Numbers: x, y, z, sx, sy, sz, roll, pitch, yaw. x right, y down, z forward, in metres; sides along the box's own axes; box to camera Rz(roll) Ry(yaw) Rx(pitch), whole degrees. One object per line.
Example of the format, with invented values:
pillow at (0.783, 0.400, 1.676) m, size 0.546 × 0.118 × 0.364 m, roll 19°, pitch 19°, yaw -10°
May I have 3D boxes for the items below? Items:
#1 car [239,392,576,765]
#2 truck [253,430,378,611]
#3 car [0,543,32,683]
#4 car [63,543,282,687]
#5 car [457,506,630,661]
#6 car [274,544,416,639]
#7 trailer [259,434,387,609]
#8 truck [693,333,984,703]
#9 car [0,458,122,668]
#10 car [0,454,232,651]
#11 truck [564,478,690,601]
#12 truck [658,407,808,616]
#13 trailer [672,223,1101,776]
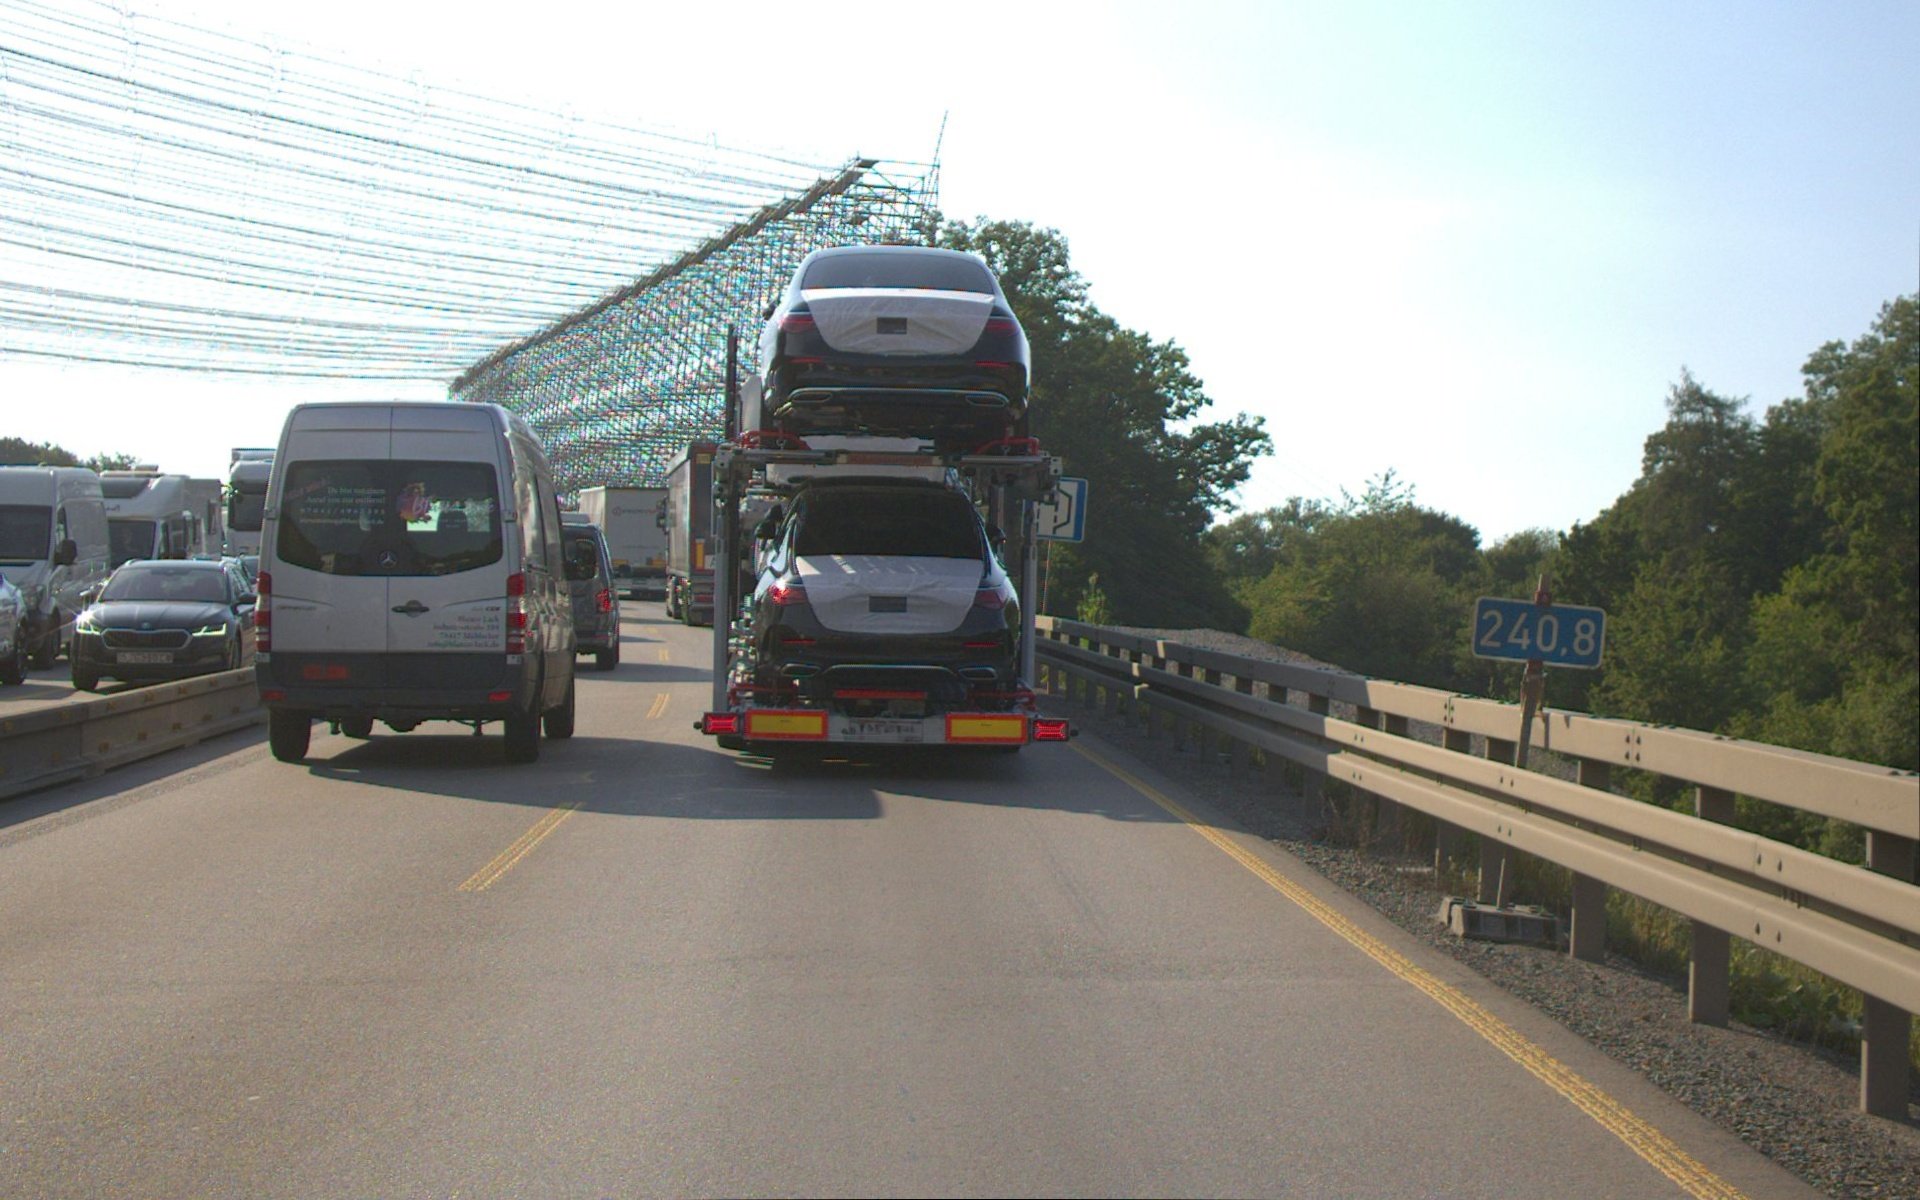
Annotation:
car at (-4.093, -0.158, 26.090) m, size 1.956 × 2.612 × 4.000 m, roll 0°, pitch 0°, yaw -1°
truck at (-15.575, -1.898, 83.364) m, size 2.712 × 4.203 × 5.684 m, roll 1°, pitch 1°, yaw -8°
car at (-11.304, 0.124, 37.275) m, size 1.763 × 1.518 × 4.003 m, roll 1°, pitch 0°, yaw -6°
car at (-8.877, 0.142, 39.056) m, size 1.654 × 1.518 × 4.287 m, roll 1°, pitch 0°, yaw -3°
car at (-5.691, -0.226, 47.400) m, size 1.993 × 2.007 × 4.000 m, roll 1°, pitch 0°, yaw -2°
car at (-10.956, -0.185, 61.560) m, size 2.058 × 1.481 × 4.727 m, roll -2°, pitch 2°, yaw -5°
trailer at (-16.554, -1.980, 90.083) m, size 2.720 × 4.203 × 13.752 m, roll 1°, pitch 1°, yaw -8°
truck at (-1.456, -0.861, 38.302) m, size 2.881 × 3.690 × 7.326 m, roll 1°, pitch 1°, yaw -4°
car at (-12.604, -0.471, 45.555) m, size 1.956 × 2.612 × 5.749 m, roll 0°, pitch 0°, yaw -4°
car at (-13.340, -0.726, 54.800) m, size 2.334 × 2.908 × 7.633 m, roll 0°, pitch 0°, yaw -4°
truck at (-12.502, -2.292, 127.890) m, size 3.686 × 4.206 × 13.672 m, roll -2°, pitch 2°, yaw -9°
truck at (-5.357, -2.009, 79.208) m, size 2.731 × 4.370 × 11.524 m, roll 2°, pitch 1°, yaw -7°
trailer at (-0.952, -0.757, 30.832) m, size 2.868 × 3.712 × 14.949 m, roll 1°, pitch 1°, yaw -3°
